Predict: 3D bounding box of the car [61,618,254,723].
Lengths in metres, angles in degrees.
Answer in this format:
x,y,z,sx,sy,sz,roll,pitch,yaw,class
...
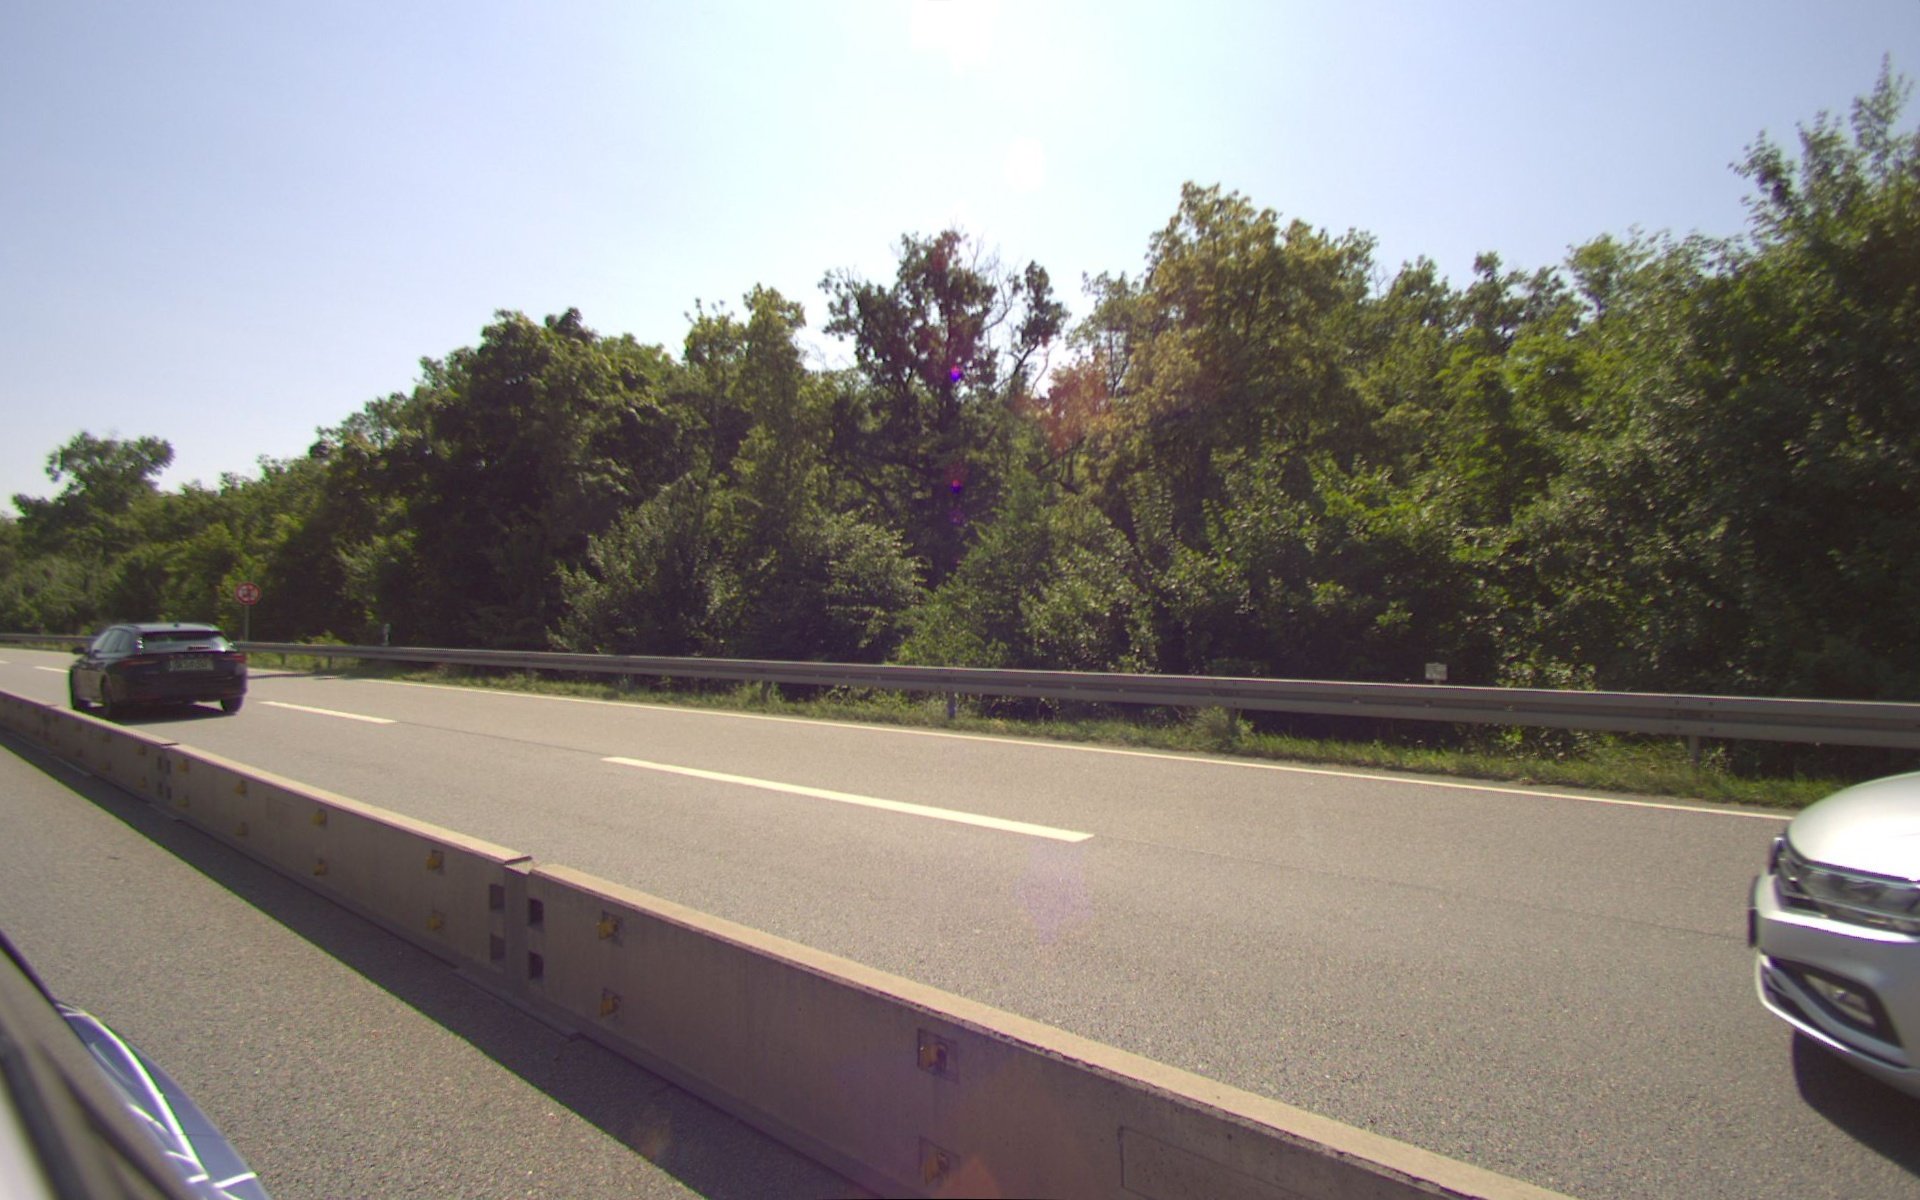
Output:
x,y,z,sx,sy,sz,roll,pitch,yaw,class
-13.313,1.075,16.700,4.255,1.493,1.803,-2,-1,42,car

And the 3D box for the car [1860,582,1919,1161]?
x,y,z,sx,sy,sz,roll,pitch,yaw,class
4.624,0.629,1.850,4.350,1.432,1.929,-2,-1,40,car
